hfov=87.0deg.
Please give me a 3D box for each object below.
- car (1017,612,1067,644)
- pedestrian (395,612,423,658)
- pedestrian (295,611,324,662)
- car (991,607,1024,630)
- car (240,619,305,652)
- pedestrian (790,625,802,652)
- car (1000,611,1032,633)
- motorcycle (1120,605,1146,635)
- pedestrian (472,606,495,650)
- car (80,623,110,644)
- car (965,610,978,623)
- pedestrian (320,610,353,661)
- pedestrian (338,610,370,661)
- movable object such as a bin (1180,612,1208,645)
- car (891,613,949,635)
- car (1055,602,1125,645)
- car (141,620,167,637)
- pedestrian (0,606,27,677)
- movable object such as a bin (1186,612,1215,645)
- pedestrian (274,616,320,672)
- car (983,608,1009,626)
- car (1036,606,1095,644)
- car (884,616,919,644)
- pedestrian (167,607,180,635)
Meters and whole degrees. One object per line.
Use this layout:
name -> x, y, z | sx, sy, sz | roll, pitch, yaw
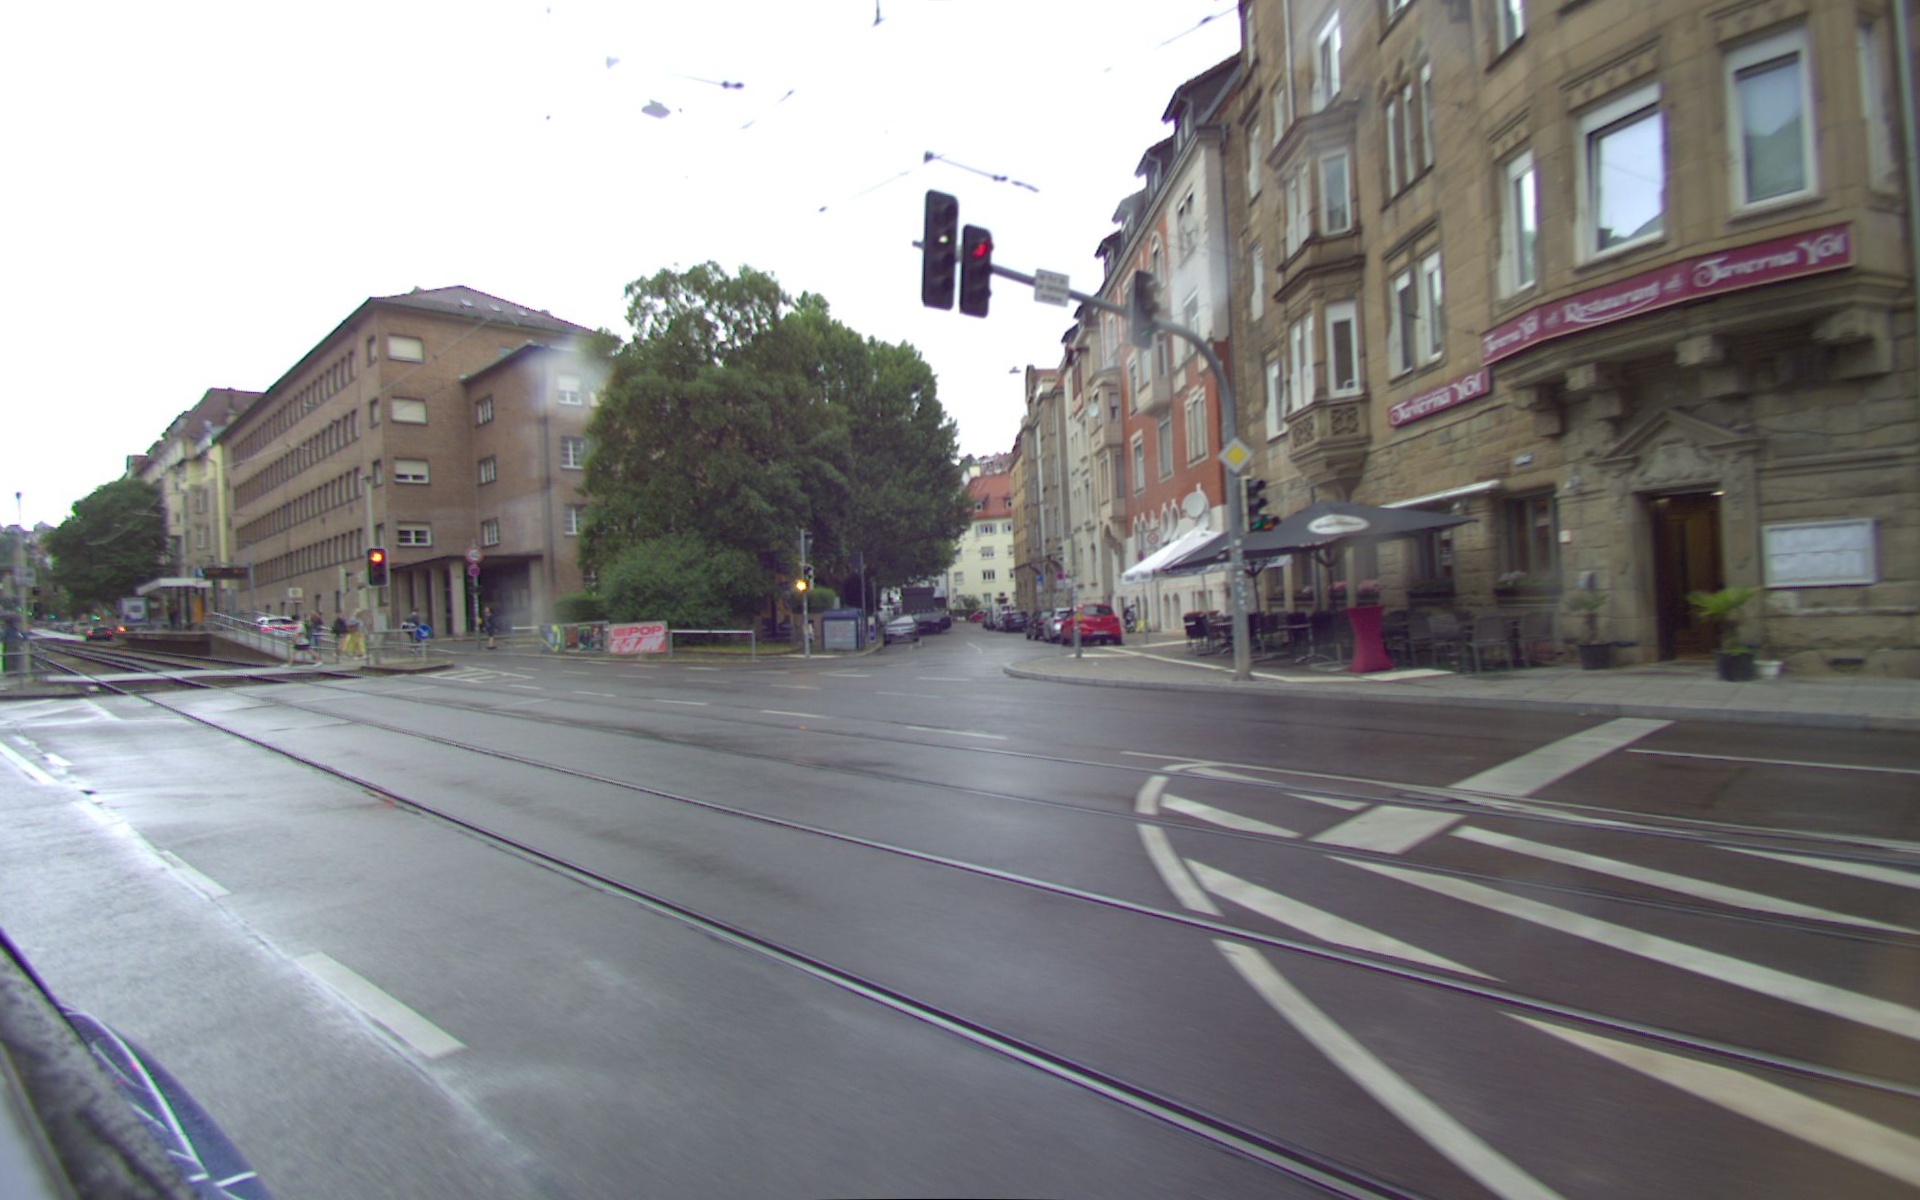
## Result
car -> 3.754, 1.273, 46.967 | 1.716, 1.413, 4.146 | -1, -1, -3
pedestrian -> -20.423, 1.298, 37.506 | 0.649, 1.663, 0.756 | -2, -2, 44
pedestrian -> -22.703, 1.259, 35.322 | 0.688, 1.711, 0.657 | -1, 1, 43
car -> 3.531, 1.364, 75.700 | 1.970, 1.643, 4.003 | -1, -1, -4
car -> -37.112, 1.867, 54.547 | 1.970, 1.640, 5.256 | 2, -2, -44
pedestrian -> -6.861, 1.609, 42.365 | 0.411, 1.093, 0.283 | 0, -1, -21
car -> 3.860, 1.514, 70.114 | 1.716, 1.413, 4.003 | -1, -1, -3
motorcycle -> 7.468, 0.858, 43.719 | 0.738, 1.265, 1.860 | -1, -1, -2
pedestrian -> -18.461, 1.093, 39.237 | 0.688, 1.688, 0.597 | -2, -2, 43
car -> -85.138, 3.261, 99.645 | 1.970, 2.029, 4.003 | 1, -2, -44
car -> 1.405, 1.972, 121.211 | 1.550, 1.413, 3.699 | -1, -1, 2
pedestrian -> -21.671, 1.229, 35.166 | 0.883, 1.709, 0.735 | -1, 2, 44
pedestrian -> -20.189, 1.183, 33.696 | 0.735, 1.659, 0.641 | -2, -1, -44
movable object such as a bin -> 7.675, 0.927, 33.185 | 0.709, 1.050, 0.552 | -1, -1, -14
car -> -2.729, 1.641, 69.445 | 3.943, 1.489, 1.742 | -1, -1, -1
car -> 4.519, 0.812, 35.758 | 1.716, 1.413, 4.003 | -1, -1, -3
car -> -72.454, 2.569, 90.947 | 1.625, 1.477, 3.114 | -2, 0, -43
pedestrian -> -28.126, 1.224, 29.812 | 0.887, 2.029, 0.948 | -2, 0, -45
movable object such as a bin -> 7.753, 0.921, 32.590 | 0.709, 1.050, 0.552 | -1, -1, -14
pedestrian -> -19.374, 1.275, 29.583 | 0.940, 1.595, 0.697 | -1, -1, -13
car -> 2.899, 1.343, 81.404 | 1.716, 1.413, 4.003 | -1, -1, -3
car -> 4.231, 1.006, 41.137 | 1.716, 1.413, 4.171 | -1, -1, -3
car -> -3.068, 1.541, 52.948 | 1.716, 1.413, 4.003 | -1, -1, -3
pedestrian -> -48.760, 1.312, 62.771 | 0.491, 1.722, 0.580 | -2, -2, 44
